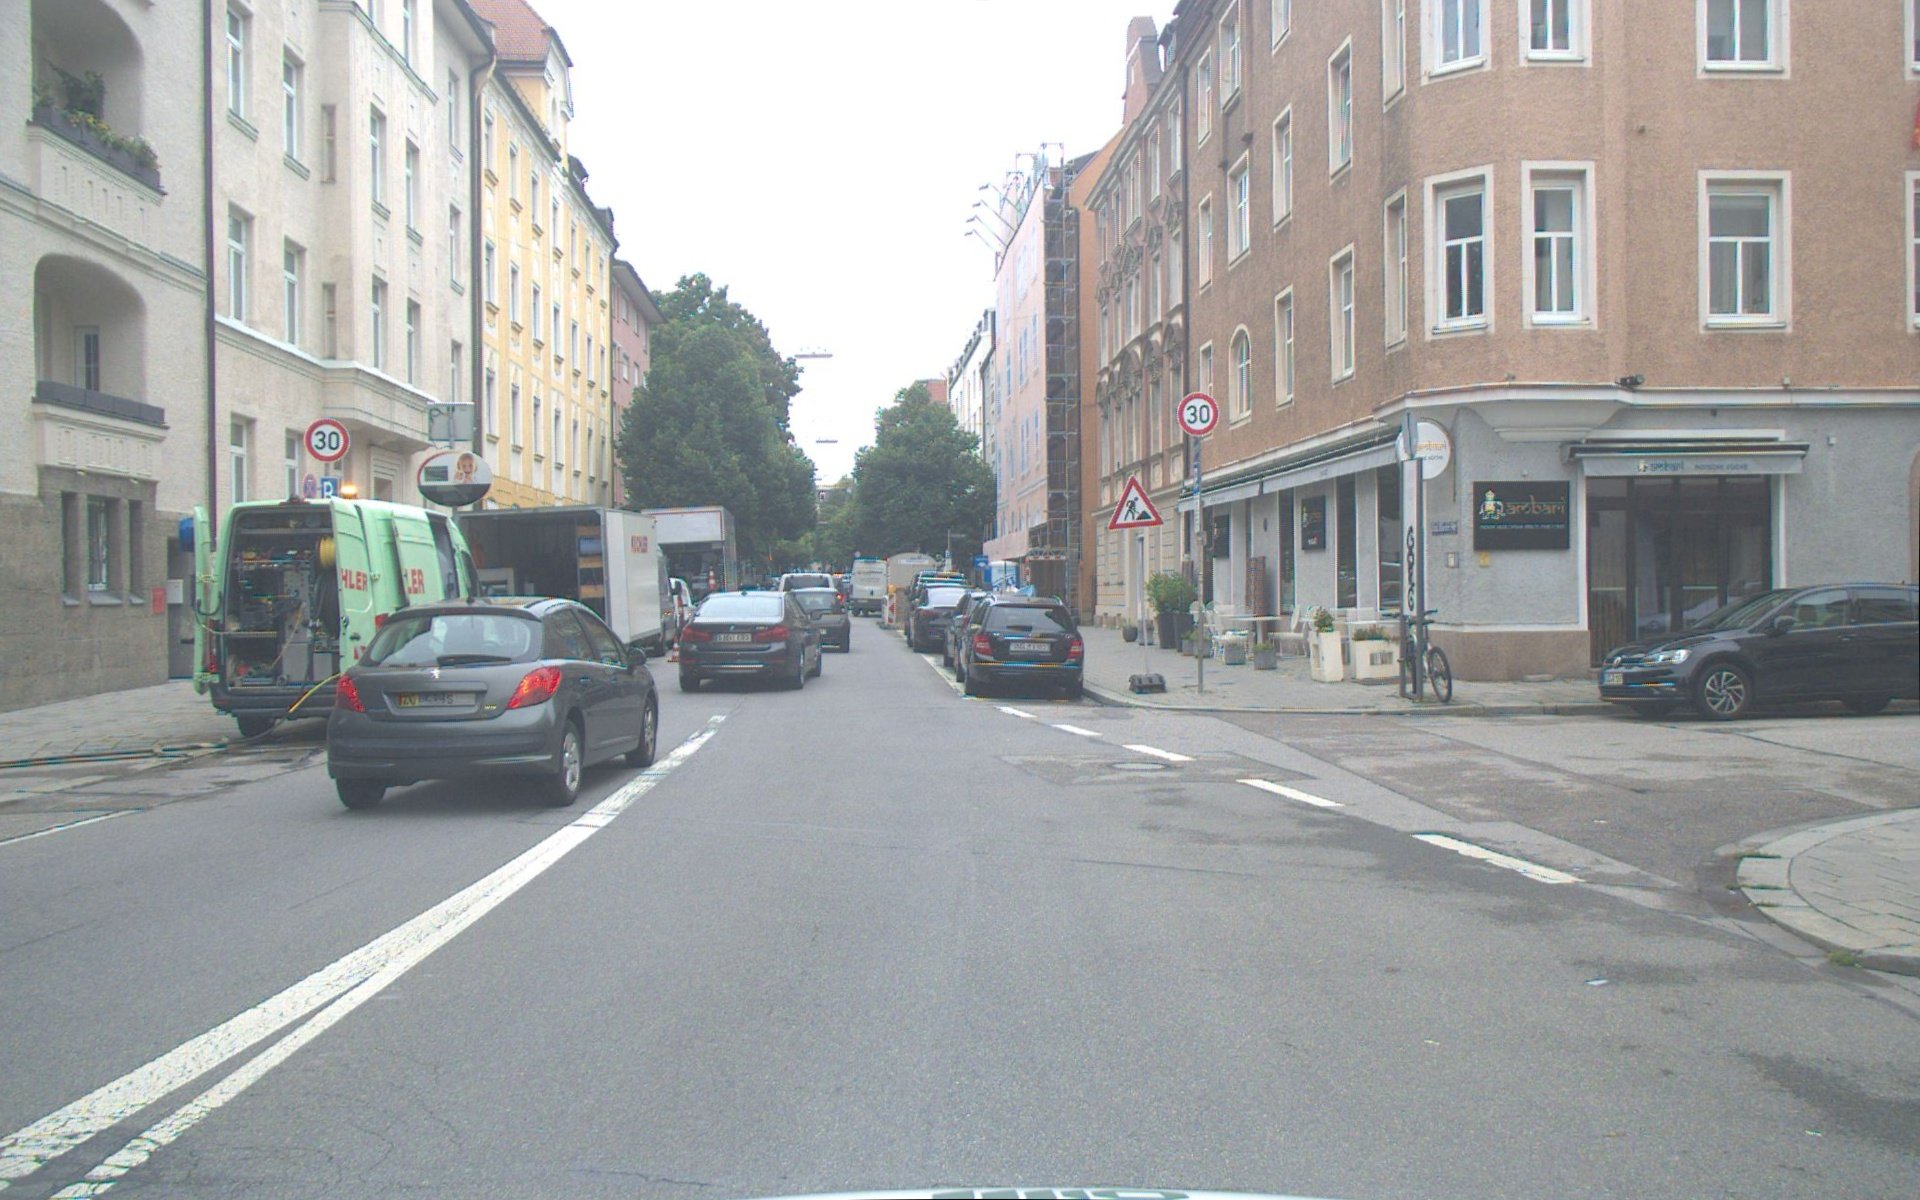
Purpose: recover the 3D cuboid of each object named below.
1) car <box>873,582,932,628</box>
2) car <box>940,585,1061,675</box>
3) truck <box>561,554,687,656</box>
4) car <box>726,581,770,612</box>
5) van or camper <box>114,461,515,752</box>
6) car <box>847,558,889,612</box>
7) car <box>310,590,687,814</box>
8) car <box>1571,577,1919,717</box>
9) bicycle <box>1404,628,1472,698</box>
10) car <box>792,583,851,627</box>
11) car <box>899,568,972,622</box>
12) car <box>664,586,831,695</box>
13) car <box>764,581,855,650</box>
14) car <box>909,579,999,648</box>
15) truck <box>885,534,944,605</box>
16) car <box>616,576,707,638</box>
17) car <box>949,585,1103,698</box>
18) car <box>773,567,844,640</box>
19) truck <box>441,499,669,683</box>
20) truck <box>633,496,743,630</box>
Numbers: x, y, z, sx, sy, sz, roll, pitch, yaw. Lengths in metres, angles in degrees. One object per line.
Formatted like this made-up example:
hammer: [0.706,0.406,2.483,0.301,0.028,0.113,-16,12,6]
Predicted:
car: [-2.010,0.160,57.058,1.950,1.454,4.138,-1,1,-3]
car: [0.683,0.517,31.082,1.808,1.454,4.137,2,1,-5]
truck: [-7.654,0.092,38.157,2.241,2.209,4.803,0,0,-4]
car: [-10.207,-0.189,79.875,1.901,1.473,3.863,0,0,-4]
van or camper: [-7.299,-0.010,19.685,2.548,2.889,6.183,-1,1,-3]
car: [-4.432,-0.739,80.361,1.900,2.523,4.781,0,0,-2]
car: [-3.439,0.673,13.150,1.722,1.486,4.075,-1,0,2]
car: [9.305,0.518,18.668,4.086,1.454,1.924,-1,-2,-3]
bicycle: [5.961,0.769,20.669,0.447,0.819,1.326,0,0,-1]
car: [-4.996,0.152,60.038,1.950,1.454,4.138,-1,1,-3]
car: [-0.750,-0.175,47.456,1.950,1.454,4.138,-1,1,-3]
car: [-3.218,0.562,26.015,1.949,1.454,4.906,-1,1,0]
car: [-3.492,0.321,38.970,1.950,1.454,4.138,-1,1,-3]
car: [-0.205,0.284,39.736,1.808,1.454,4.303,2,1,-5]
truck: [-2.062,-1.330,73.539,2.442,3.025,5.323,0,0,-4]
car: [-8.183,0.176,45.655,1.950,1.639,4.138,0,0,-3]
car: [0.909,0.566,25.181,1.808,1.454,4.180,2,1,-5]
car: [-4.601,0.061,50.698,1.950,2.111,4.138,-1,1,-3]
truck: [-7.128,-0.227,30.143,2.718,2.923,7.197,-1,1,-3]
truck: [-8.638,-1.128,53.275,2.953,4.021,6.989,0,0,-5]
